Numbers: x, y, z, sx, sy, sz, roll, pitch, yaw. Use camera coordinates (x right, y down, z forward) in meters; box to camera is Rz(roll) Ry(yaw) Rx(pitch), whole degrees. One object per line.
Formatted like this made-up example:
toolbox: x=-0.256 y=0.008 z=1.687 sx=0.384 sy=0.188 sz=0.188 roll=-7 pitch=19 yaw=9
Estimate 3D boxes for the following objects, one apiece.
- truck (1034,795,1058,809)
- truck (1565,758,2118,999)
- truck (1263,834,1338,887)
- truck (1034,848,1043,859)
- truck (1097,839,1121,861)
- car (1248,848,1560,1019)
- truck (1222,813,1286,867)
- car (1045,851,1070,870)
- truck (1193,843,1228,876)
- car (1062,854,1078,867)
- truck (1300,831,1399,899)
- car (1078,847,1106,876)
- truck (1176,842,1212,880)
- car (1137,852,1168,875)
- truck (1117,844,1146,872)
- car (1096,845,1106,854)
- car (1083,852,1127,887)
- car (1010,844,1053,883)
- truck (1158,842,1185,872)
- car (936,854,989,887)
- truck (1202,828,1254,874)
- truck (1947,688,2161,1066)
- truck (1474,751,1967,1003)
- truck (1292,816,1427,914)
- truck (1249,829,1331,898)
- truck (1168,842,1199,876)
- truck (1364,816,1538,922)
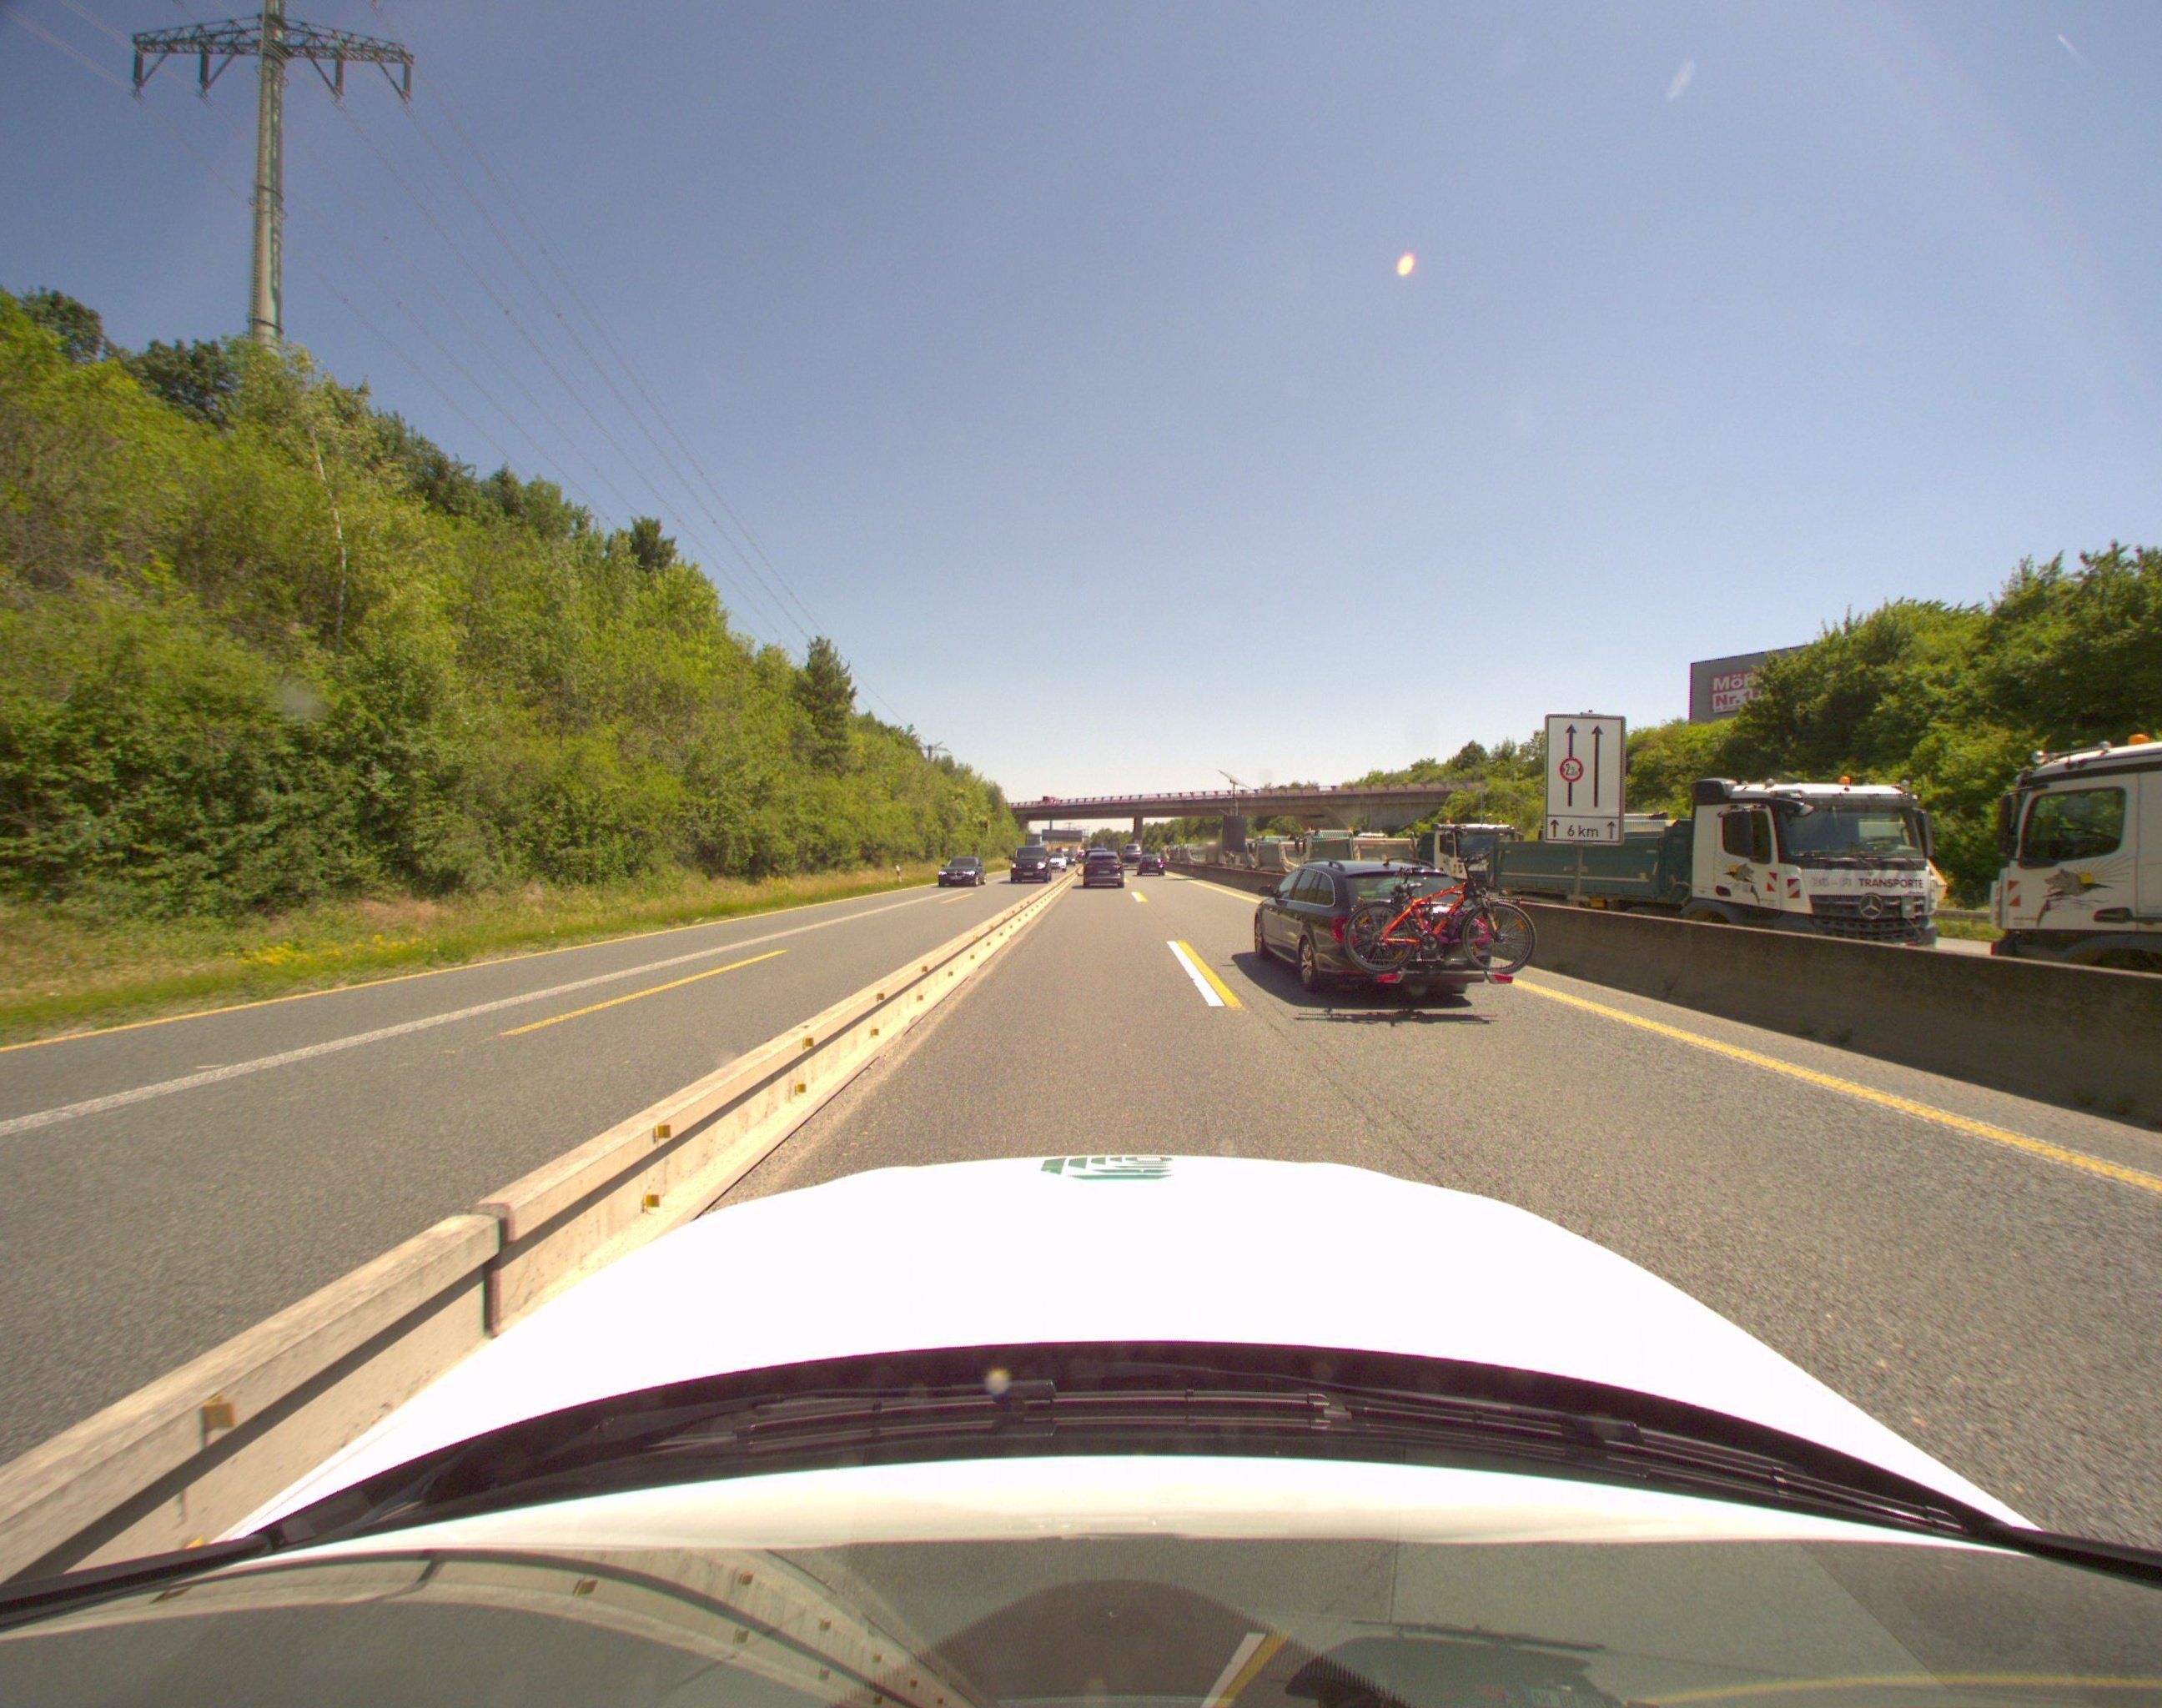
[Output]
truck: x=-6.455 y=-9.579 z=149.954 sx=1.945 sy=2.066 sz=5.456 roll=0 pitch=-1 yaw=-35
truck: x=14.092 y=0.358 z=16.843 sx=2.677 sy=3.557 sz=9.605 roll=0 pitch=0 yaw=1
truck: x=15.051 y=0.431 z=56.573 sx=2.678 sy=3.378 sz=9.602 roll=0 pitch=0 yaw=0
truck: x=-12.280 y=-0.118 z=235.538 sx=2.503 sy=3.186 sz=10.096 roll=0 pitch=0 yaw=-4
truck: x=4.938 y=-0.735 z=145.314 sx=3.286 sy=3.845 sz=10.096 roll=0 pitch=0 yaw=-4
car: x=3.330 y=0.711 z=9.603 sx=1.892 sy=1.490 sz=4.950 roll=0 pitch=0 yaw=2
truck: x=12.193 y=-0.908 z=58.313 sx=2.678 sy=3.557 sz=9.325 roll=0 pitch=0 yaw=0
car: x=-1.977 y=0.532 z=69.654 sx=1.837 sy=1.533 sz=4.672 roll=0 pitch=0 yaw=1
truck: x=15.118 y=0.583 z=95.526 sx=2.678 sy=3.727 sz=9.325 roll=0 pitch=0 yaw=0
car: x=-1.371 y=0.757 z=102.431 sx=1.837 sy=1.533 sz=4.672 roll=1 pitch=0 yaw=1
truck: x=14.483 y=0.543 z=44.814 sx=2.677 sy=3.378 sz=9.608 roll=0 pitch=0 yaw=2
car: x=0.847 y=0.541 z=58.042 sx=1.892 sy=1.968 sz=4.278 roll=0 pitch=0 yaw=2
truck: x=11.787 y=0.725 z=85.890 sx=2.678 sy=3.761 sz=9.326 roll=0 pitch=0 yaw=1
car: x=4.905 y=0.641 z=56.397 sx=1.892 sy=1.585 sz=4.278 roll=0 pitch=0 yaw=2
truck: x=4.764 y=0.349 z=78.153 sx=2.397 sy=2.558 sz=7.500 roll=0 pitch=0 yaw=0
car: x=4.378 y=-0.928 z=180.437 sx=1.895 sy=1.968 sz=4.271 roll=0 pitch=0 yaw=-3
car: x=1.103 y=0.666 z=37.273 sx=1.892 sy=1.505 sz=4.278 roll=0 pitch=0 yaw=2
car: x=-2.606 y=0.473 z=44.208 sx=1.883 sy=2.013 sz=4.820 roll=0 pitch=0 yaw=2
truck: x=12.163 y=0.409 z=110.041 sx=2.678 sy=3.843 sz=9.326 roll=0 pitch=0 yaw=1
car: x=-5.717 y=0.748 z=39.723 sx=1.786 sy=1.525 sz=4.533 roll=0 pitch=0 yaw=2
truck: x=12.146 y=-0.240 z=68.071 sx=2.678 sy=3.557 sz=9.325 roll=0 pitch=0 yaw=0
truck: x=11.239 y=0.215 z=4.991 sx=2.524 sy=3.511 sz=8.946 roll=0 pitch=0 yaw=1
truck: x=11.347 y=0.319 z=16.312 sx=2.529 sy=3.557 sz=9.605 roll=0 pitch=0 yaw=1
truck: x=11.412 y=0.400 z=34.503 sx=2.677 sy=3.557 sz=9.605 roll=0 pitch=0 yaw=1
truck: x=11.810 y=0.507 z=46.934 sx=2.677 sy=3.557 sz=9.411 roll=0 pitch=0 yaw=2
truck: x=12.175 y=0.530 z=97.444 sx=2.678 sy=3.856 sz=9.326 roll=0 pitch=0 yaw=1
truck: x=14.063 y=0.506 z=32.087 sx=2.677 sy=3.557 sz=9.605 roll=0 pitch=0 yaw=1
